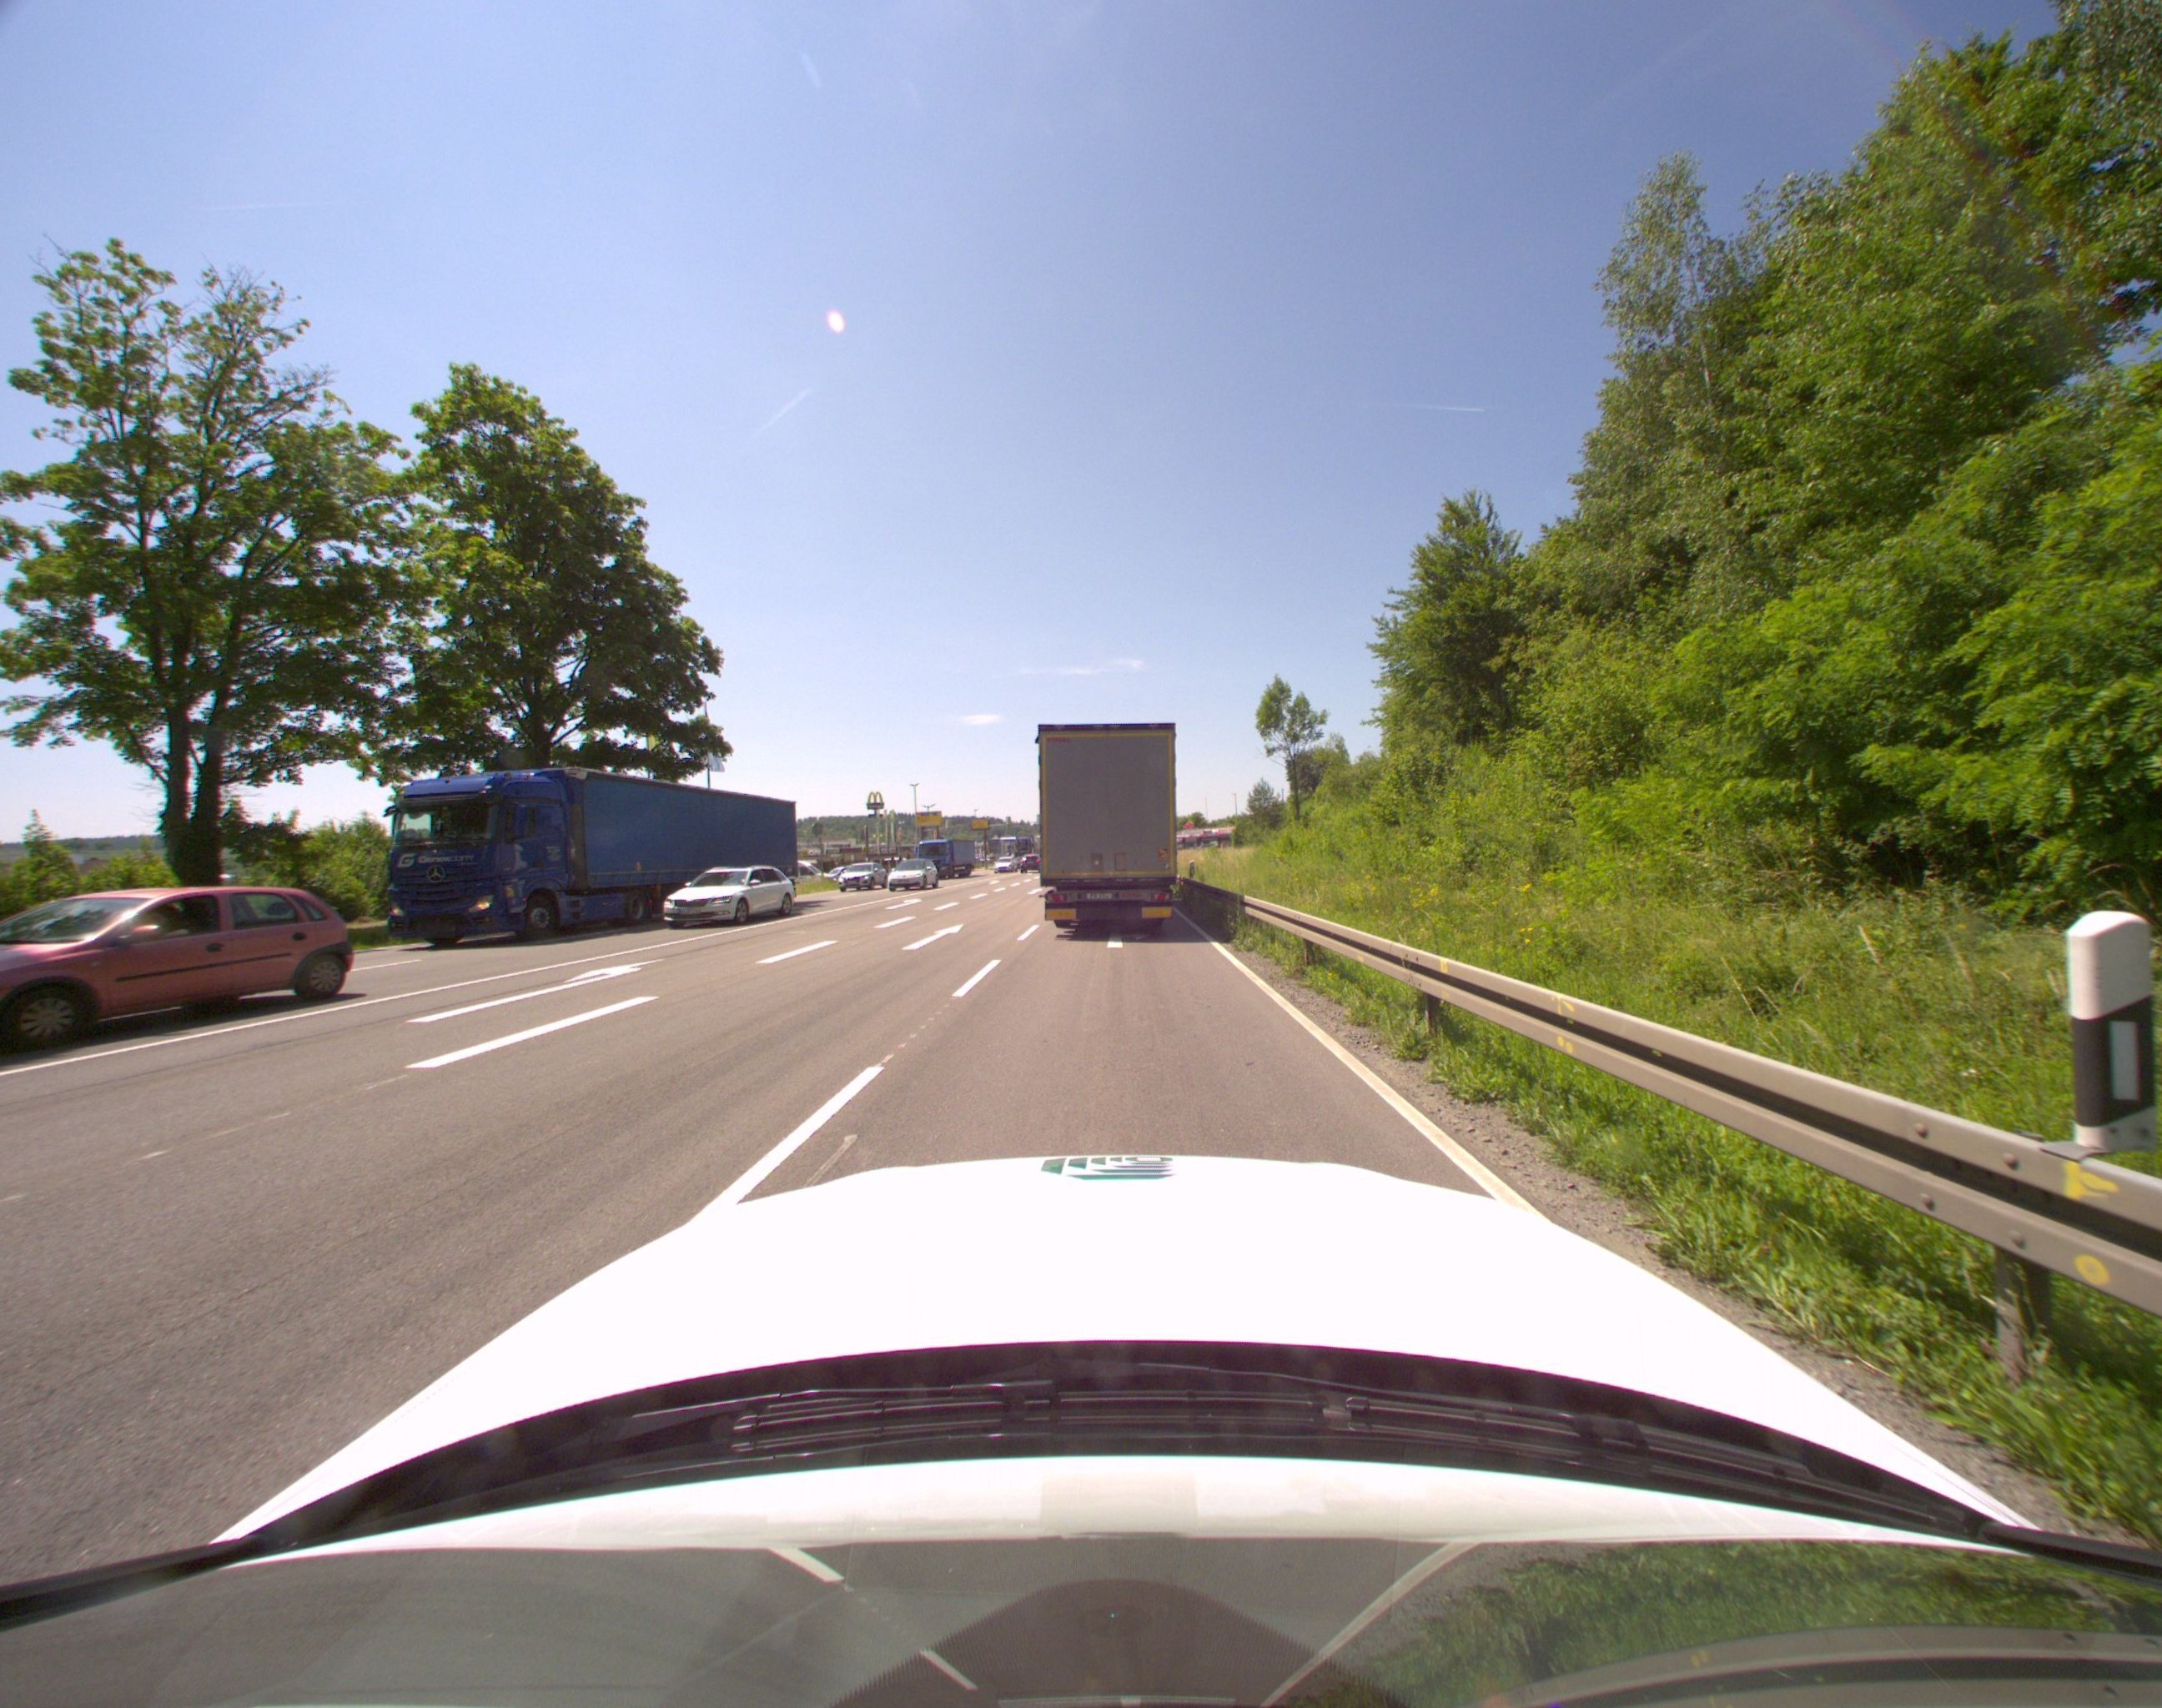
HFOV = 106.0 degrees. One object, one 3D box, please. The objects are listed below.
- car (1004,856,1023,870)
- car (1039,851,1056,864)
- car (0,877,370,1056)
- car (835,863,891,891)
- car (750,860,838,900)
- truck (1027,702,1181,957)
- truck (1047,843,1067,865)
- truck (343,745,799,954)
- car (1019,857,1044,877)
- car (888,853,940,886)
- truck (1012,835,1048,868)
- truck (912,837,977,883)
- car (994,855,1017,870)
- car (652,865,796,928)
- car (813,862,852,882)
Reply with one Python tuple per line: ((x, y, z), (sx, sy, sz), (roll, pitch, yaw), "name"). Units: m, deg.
((-7.289, 1.023, 88.074), (1.657, 1.404, 4.015), (-1, -2, 0), "car")
((-4.560, 0.483, 111.396), (1.733, 1.503, 4.409), (-4, -1, 3), "car")
((-10.031, 1.047, 8.489), (1.760, 1.446, 3.778), (-3, 0, 2), "car")
((-12.090, 1.254, 45.449), (1.754, 1.428, 4.183), (-2, 0, 3), "car")
((-22.792, 2.035, 64.823), (5.980, 2.487, 2.192), (-6, 0, -4), "car")
((0.672, -0.309, 23.301), (2.745, 4.639, 16.659), (-1, -1, 2), "truck")
((-4.656, 0.055, 161.616), (2.923, 3.950, 14.246), (-2, 0, 3), "truck")
((-13.375, -0.049, 25.043), (2.957, 4.177, 16.581), (-2, 0, 2), "truck")
((-4.358, 1.119, 71.985), (1.787, 1.627, 4.370), (-2, 0, 1), "car")
((-8.504, 0.755, 41.773), (1.787, 1.522, 4.185), (-3, 0, -1), "car")
((-7.356, -0.347, 120.150), (3.133, 4.349, 17.555), (-2, 0, 3), "truck")
((-11.033, 0.477, 67.079), (2.835, 3.351, 11.488), (-2, 0, 2), "truck")
((-7.211, 0.805, 78.002), (1.783, 1.426, 4.263), (-1, 0, 1), "car")
((-9.316, 1.054, 21.693), (1.694, 1.415, 4.563), (-2, 0, 1), "car")
((-26.339, 1.883, 86.226), (3.948, 2.013, 2.013), (-2, -1, 38), "car")
